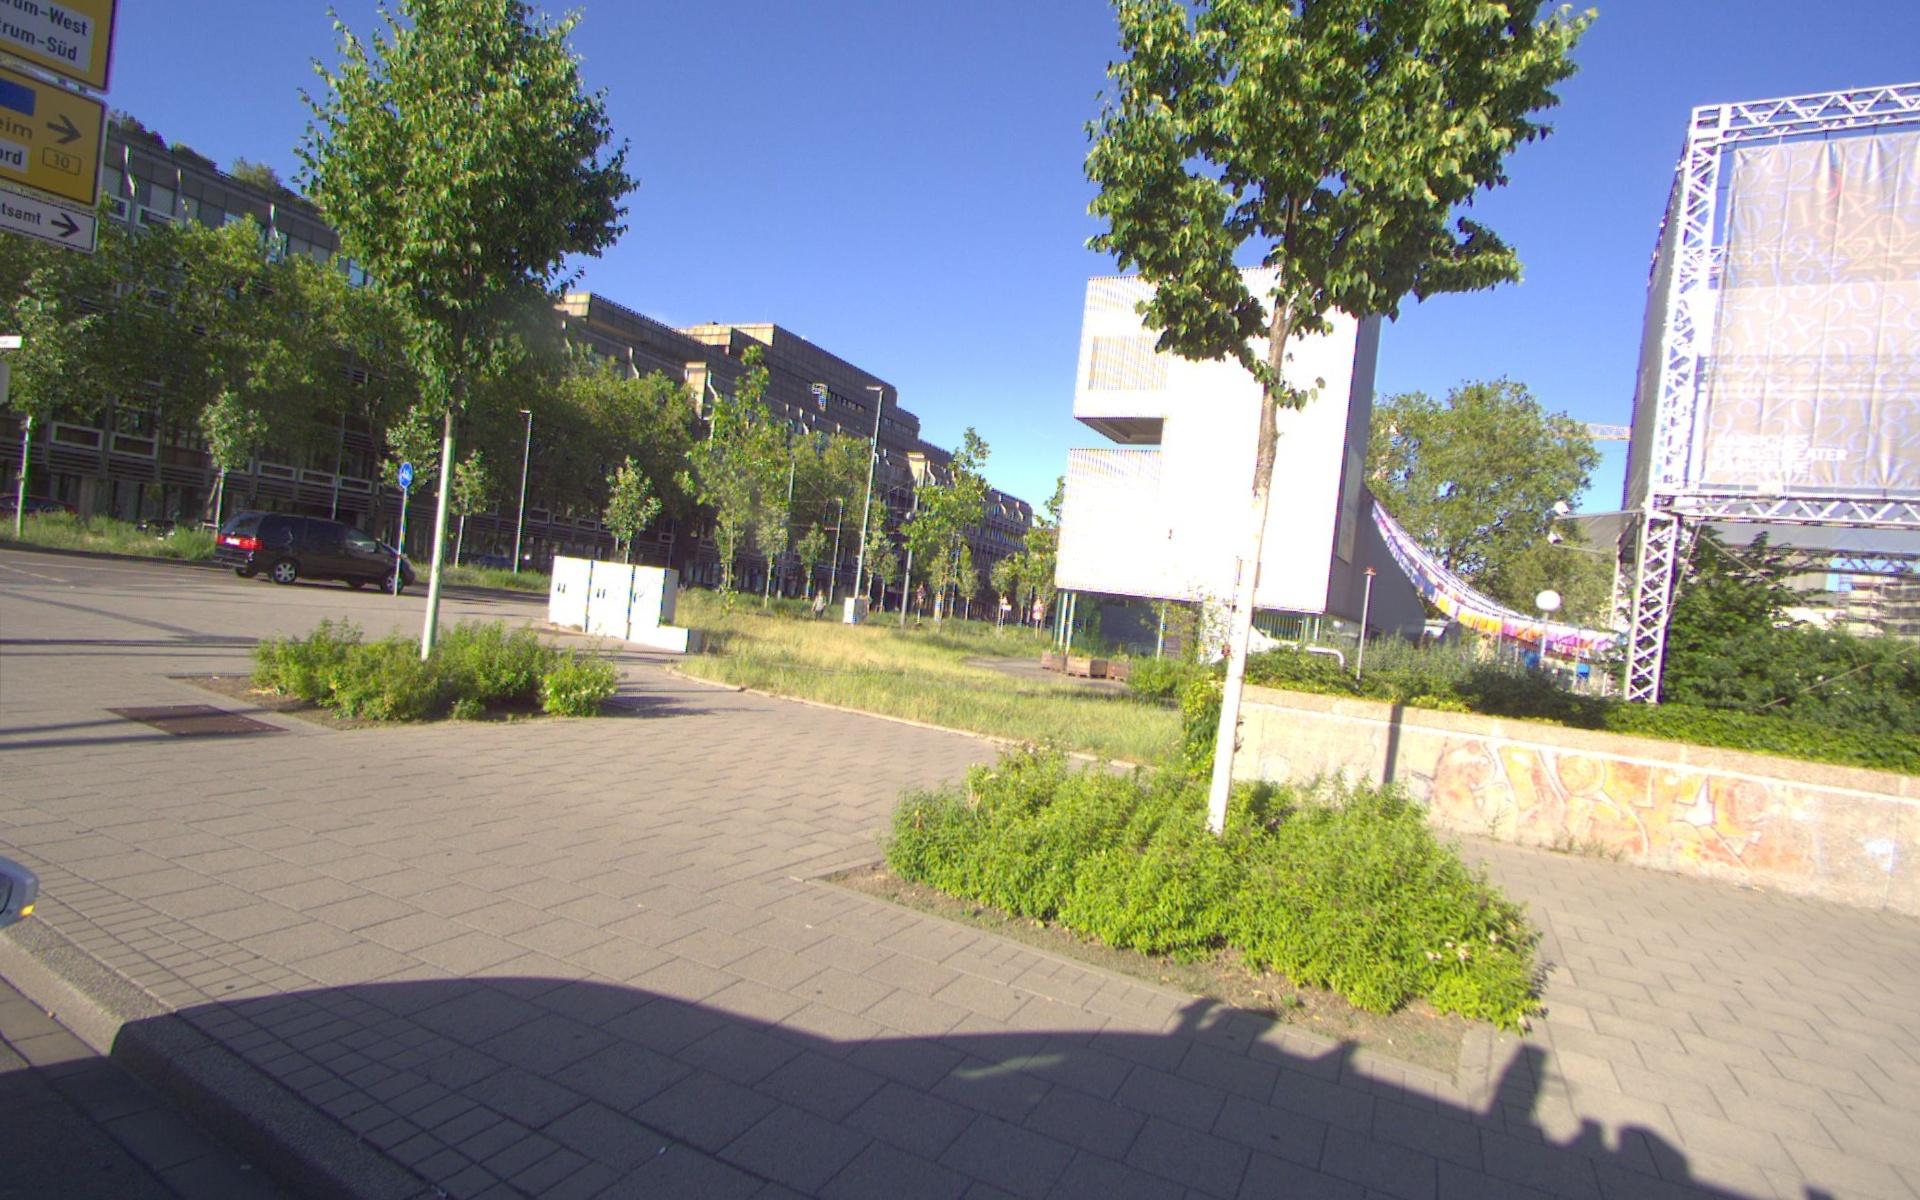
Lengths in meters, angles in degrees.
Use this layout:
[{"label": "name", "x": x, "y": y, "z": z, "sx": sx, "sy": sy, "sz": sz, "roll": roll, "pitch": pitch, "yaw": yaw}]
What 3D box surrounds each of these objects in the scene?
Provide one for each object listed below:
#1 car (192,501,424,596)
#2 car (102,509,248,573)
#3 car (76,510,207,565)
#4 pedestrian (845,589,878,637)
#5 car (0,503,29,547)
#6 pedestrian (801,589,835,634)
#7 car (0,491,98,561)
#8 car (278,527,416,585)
[{"label": "car", "x": -16.439, "y": -1.233, "z": 25.636, "sx": 1.964, "sy": 1.780, "sz": 4.484, "roll": 8, "pitch": 0, "yaw": 24}, {"label": "car", "x": -34.116, "y": -2.530, "z": 43.882, "sx": 1.965, "sy": 2.036, "sz": 4.458, "roll": 7, "pitch": -2, "yaw": 27}, {"label": "car", "x": -36.950, "y": -2.772, "z": 45.515, "sx": 1.965, "sy": 1.770, "sz": 3.998, "roll": 6, "pitch": -2, "yaw": 28}, {"label": "pedestrian", "x": -3.836, "y": 0.524, "z": 39.193, "sx": 0.925, "sy": 1.750, "sz": 0.695, "roll": 7, "pitch": 1, "yaw": 18}, {"label": "car", "x": -37.249, "y": -3.044, "z": 36.945, "sx": 1.836, "sy": 1.525, "sz": 3.997, "roll": 7, "pitch": -2, "yaw": 29}, {"label": "pedestrian", "x": -5.685, "y": 0.462, "z": 40.378, "sx": 0.925, "sy": 1.650, "sz": 0.803, "roll": 7, "pitch": 1, "yaw": 18}, {"label": "car", "x": -33.318, "y": -2.712, "z": 35.374, "sx": 1.966, "sy": 2.037, "sz": 3.997, "roll": 6, "pitch": -2, "yaw": 29}, {"label": "car", "x": -30.679, "y": -2.182, "z": 50.585, "sx": 2.062, "sy": 2.036, "sz": 5.455, "roll": 6, "pitch": -2, "yaw": 29}]
